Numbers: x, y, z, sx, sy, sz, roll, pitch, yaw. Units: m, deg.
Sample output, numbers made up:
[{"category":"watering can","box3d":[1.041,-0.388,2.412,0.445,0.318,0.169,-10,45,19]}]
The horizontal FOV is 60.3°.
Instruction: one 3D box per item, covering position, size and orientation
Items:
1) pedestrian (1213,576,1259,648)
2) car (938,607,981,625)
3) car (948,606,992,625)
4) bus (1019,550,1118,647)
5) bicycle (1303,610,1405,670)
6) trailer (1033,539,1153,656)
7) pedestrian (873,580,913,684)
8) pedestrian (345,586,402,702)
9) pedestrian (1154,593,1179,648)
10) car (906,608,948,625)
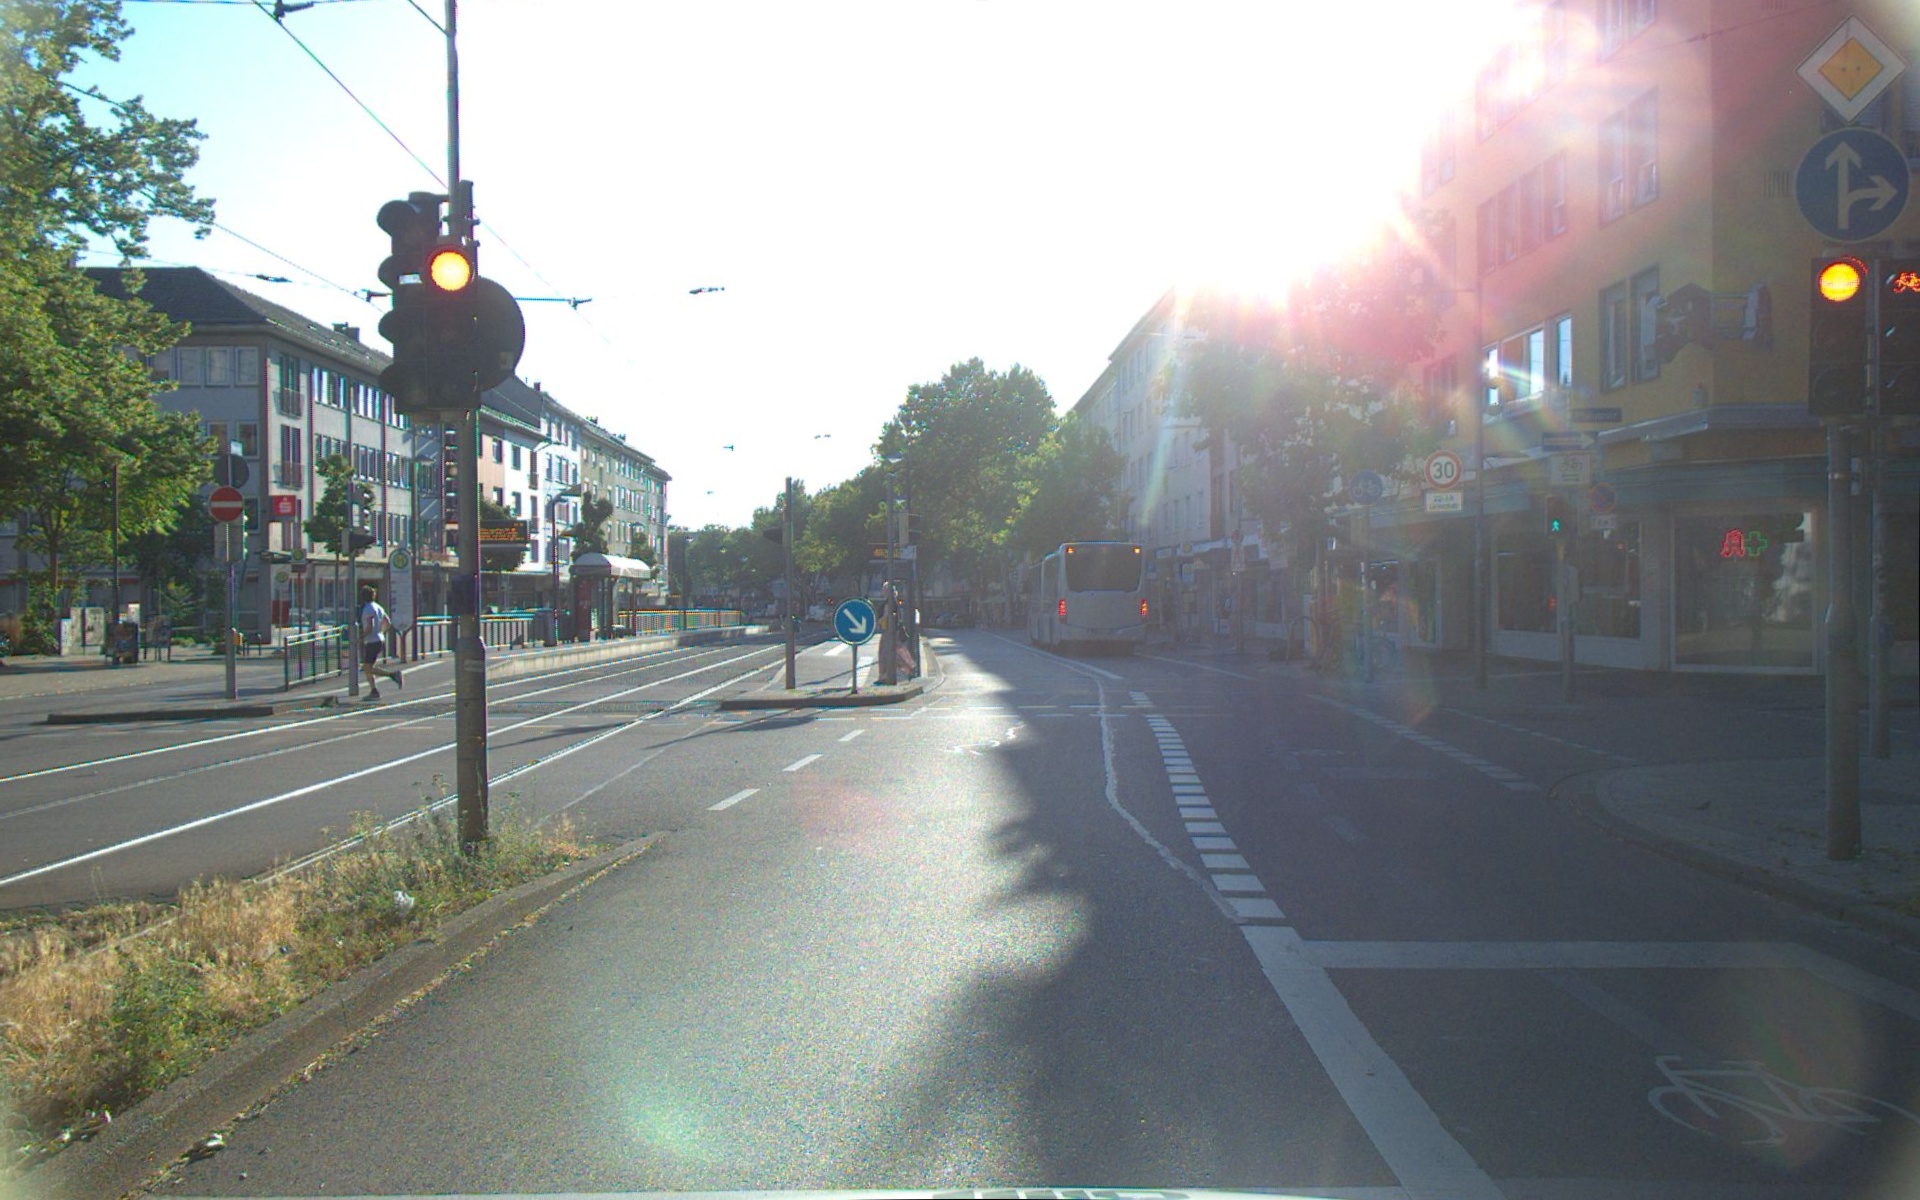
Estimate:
[{"category":"pedestrian","box3d":[7.945,0.353,47.635,0.948,2.049,0.904,2,0,-40]},{"category":"car","box3d":[-0.067,1.563,161.308,3.848,1.729,1.815,-1,0,-30]},{"category":"car","box3d":[0.984,1.488,158.540,3.848,1.729,1.815,-1,0,-30]},{"category":"bus","box3d":[3.747,-0.038,59.052,2.755,3.156,9.092,1,0,-1]},{"category":"bicycle","box3d":[7.475,0.751,31.440,1.737,1.039,0.694,-2,0,-2]},{"category":"trailer","box3d":[3.876,-0.065,50.088,2.755,3.165,8.792,1,0,-1]},{"category":"pedestrian","box3d":[-1.167,0.550,28.825,0.666,1.801,0.687,0,0,0]},{"category":"pedestrian","box3d":[-9.220,0.682,26.006,0.666,1.801,0.686,-1,0,-5]},{"category":"pedestrian","box3d":[6.309,0.637,50.561,0.662,1.656,0.655,1,0,0]},{"category":"car","box3d":[-3.325,1.618,166.523,3.848,1.624,1.674,-1,0,-30]}]
